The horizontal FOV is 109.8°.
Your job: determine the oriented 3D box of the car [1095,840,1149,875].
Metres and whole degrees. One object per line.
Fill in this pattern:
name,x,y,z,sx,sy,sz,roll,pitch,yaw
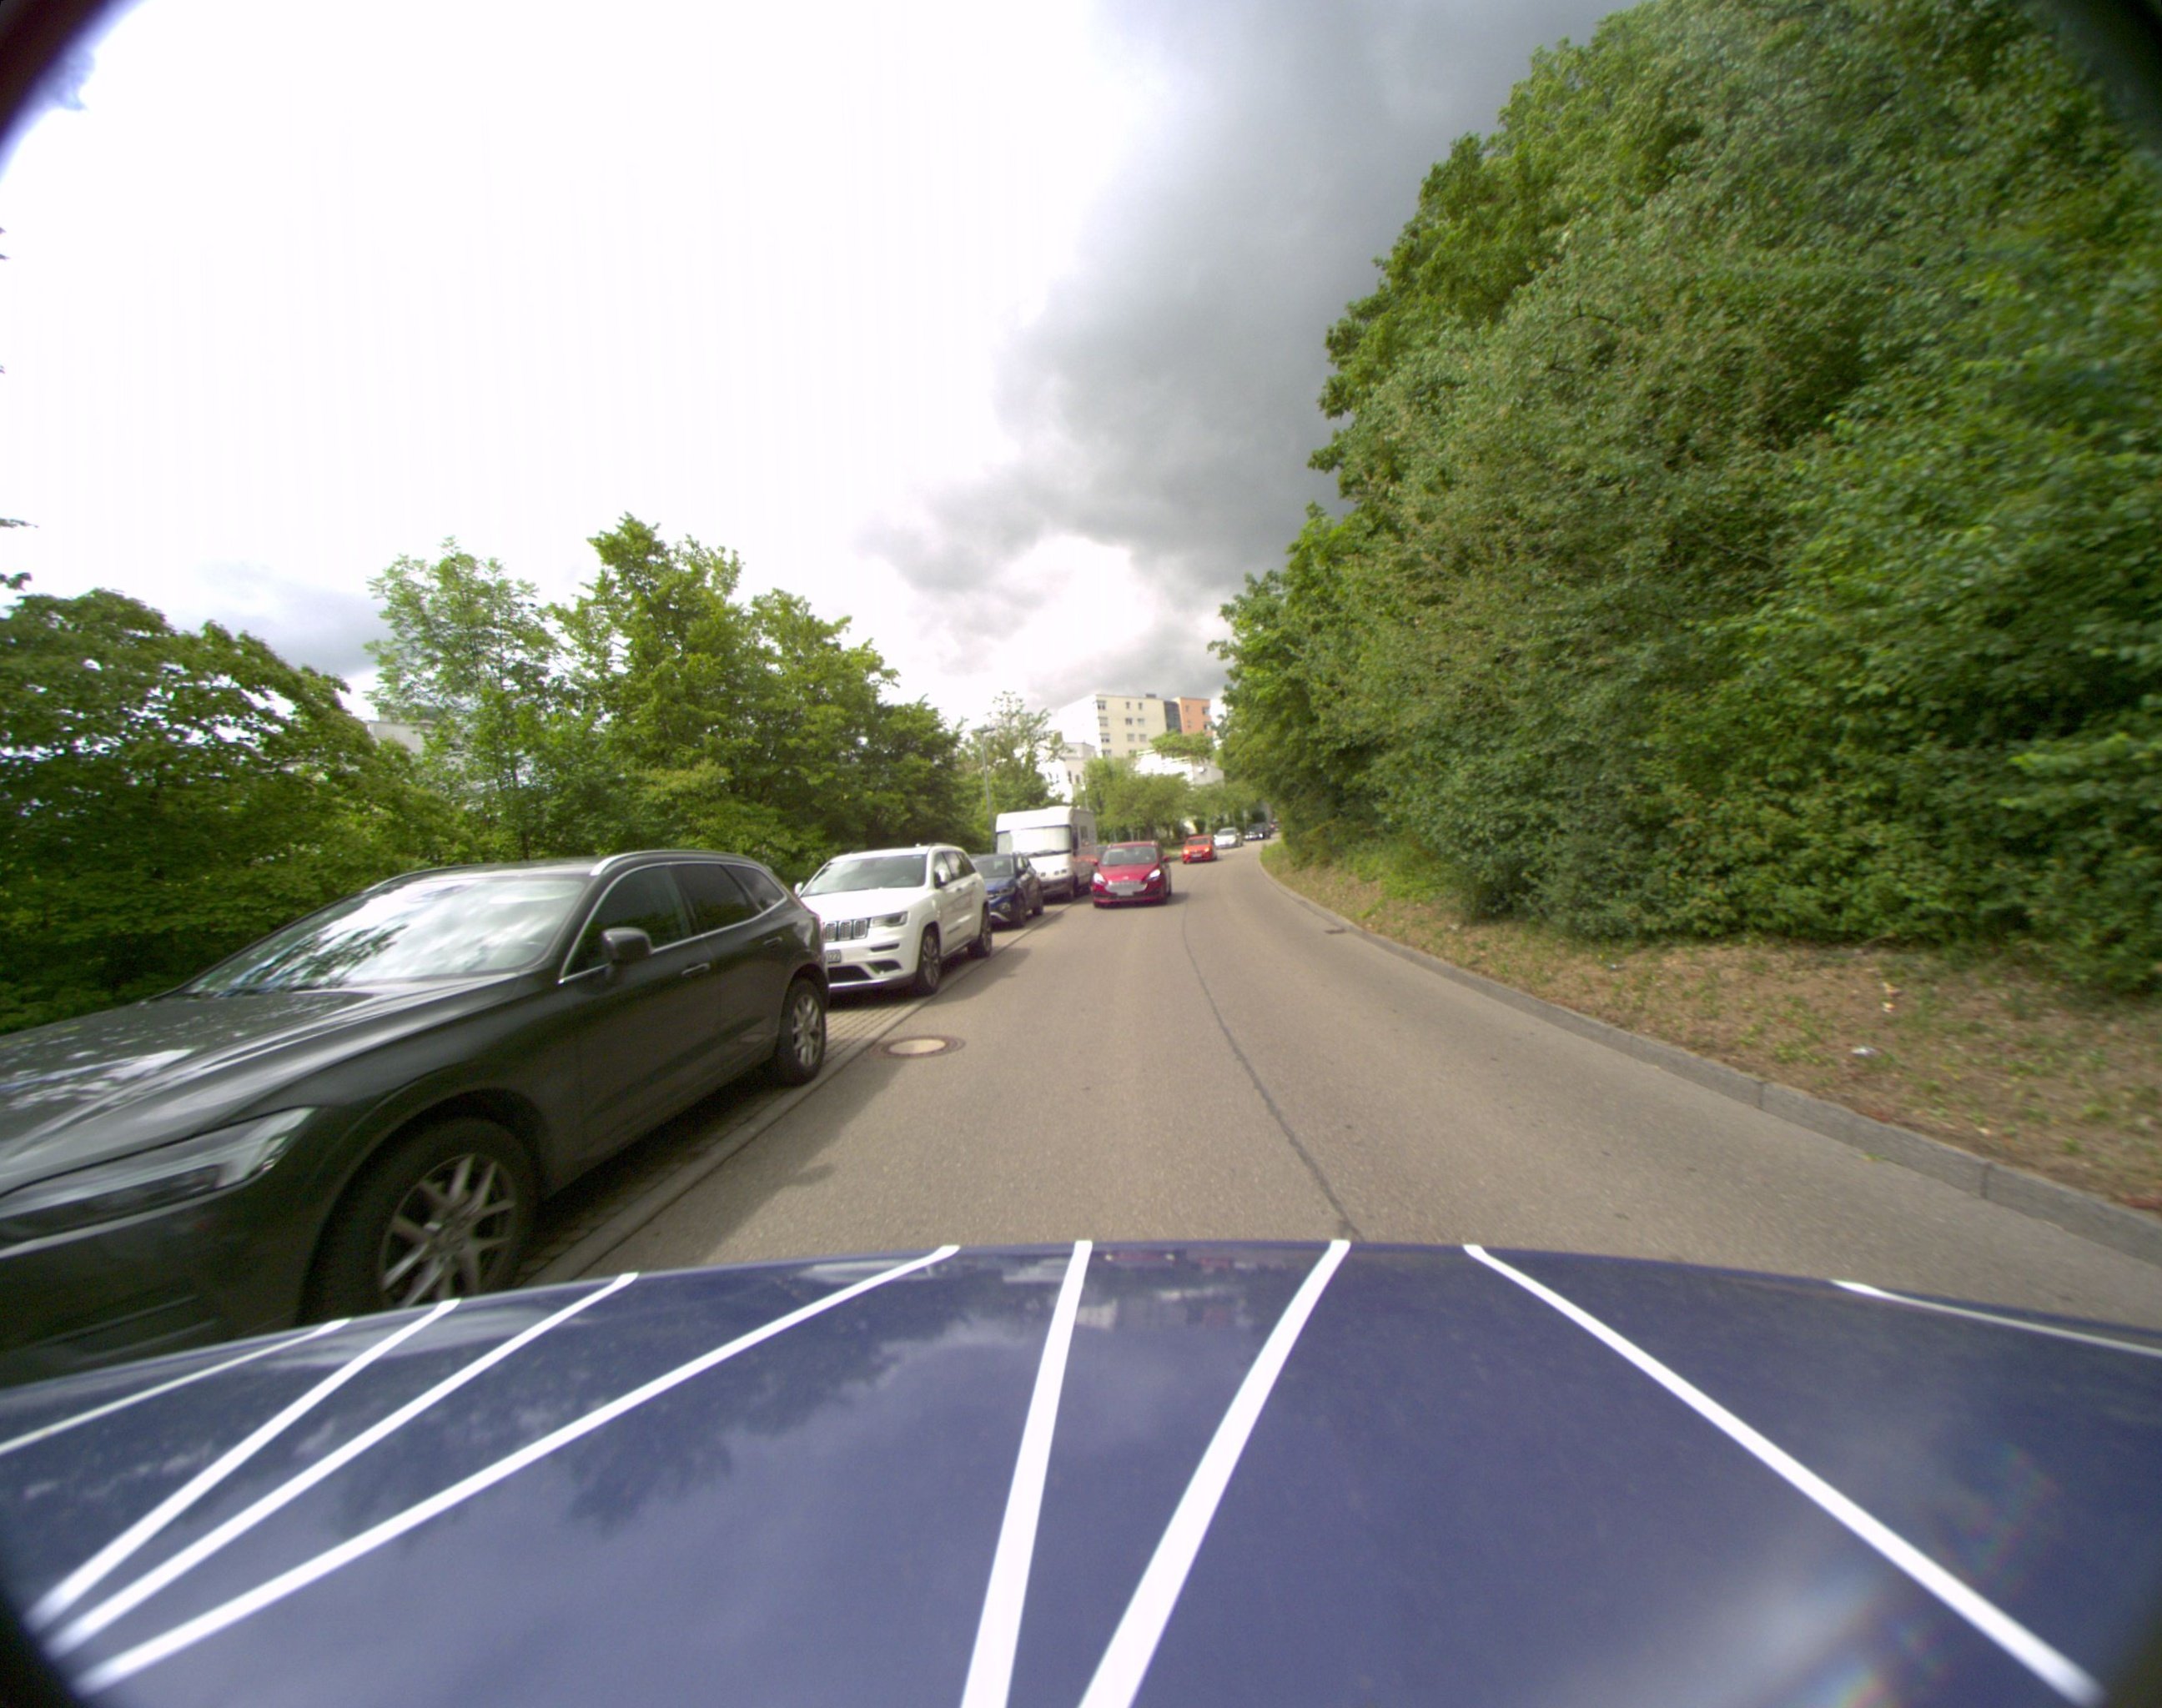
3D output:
car,2.132,0.129,38.022,1.779,1.426,4.336,-4,1,14

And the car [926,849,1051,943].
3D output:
car,-1.864,0.800,16.613,1.714,1.582,4.001,-6,1,6

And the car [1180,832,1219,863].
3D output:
car,6.657,-0.404,43.050,1.861,1.434,4.000,-6,2,6

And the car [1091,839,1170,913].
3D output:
car,1.320,0.485,19.818,1.812,1.600,3.721,-2,3,4

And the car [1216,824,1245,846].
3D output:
car,12.110,-1.541,61.261,1.778,1.444,4.002,-6,2,17

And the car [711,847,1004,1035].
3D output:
car,-2.459,0.859,9.817,1.875,1.679,4.580,-6,0,6

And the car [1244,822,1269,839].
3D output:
car,16.911,-2.283,73.021,1.778,1.412,4.004,-5,1,19

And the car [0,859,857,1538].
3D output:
car,-2.957,0.904,4.030,1.998,1.617,4.278,-3,0,3

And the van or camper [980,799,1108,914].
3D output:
van or camper,-0.914,-0.013,23.536,2.337,2.853,6.153,-6,1,10

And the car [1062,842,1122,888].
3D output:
car,0.533,0.403,30.891,1.732,1.511,3.890,-4,2,10
